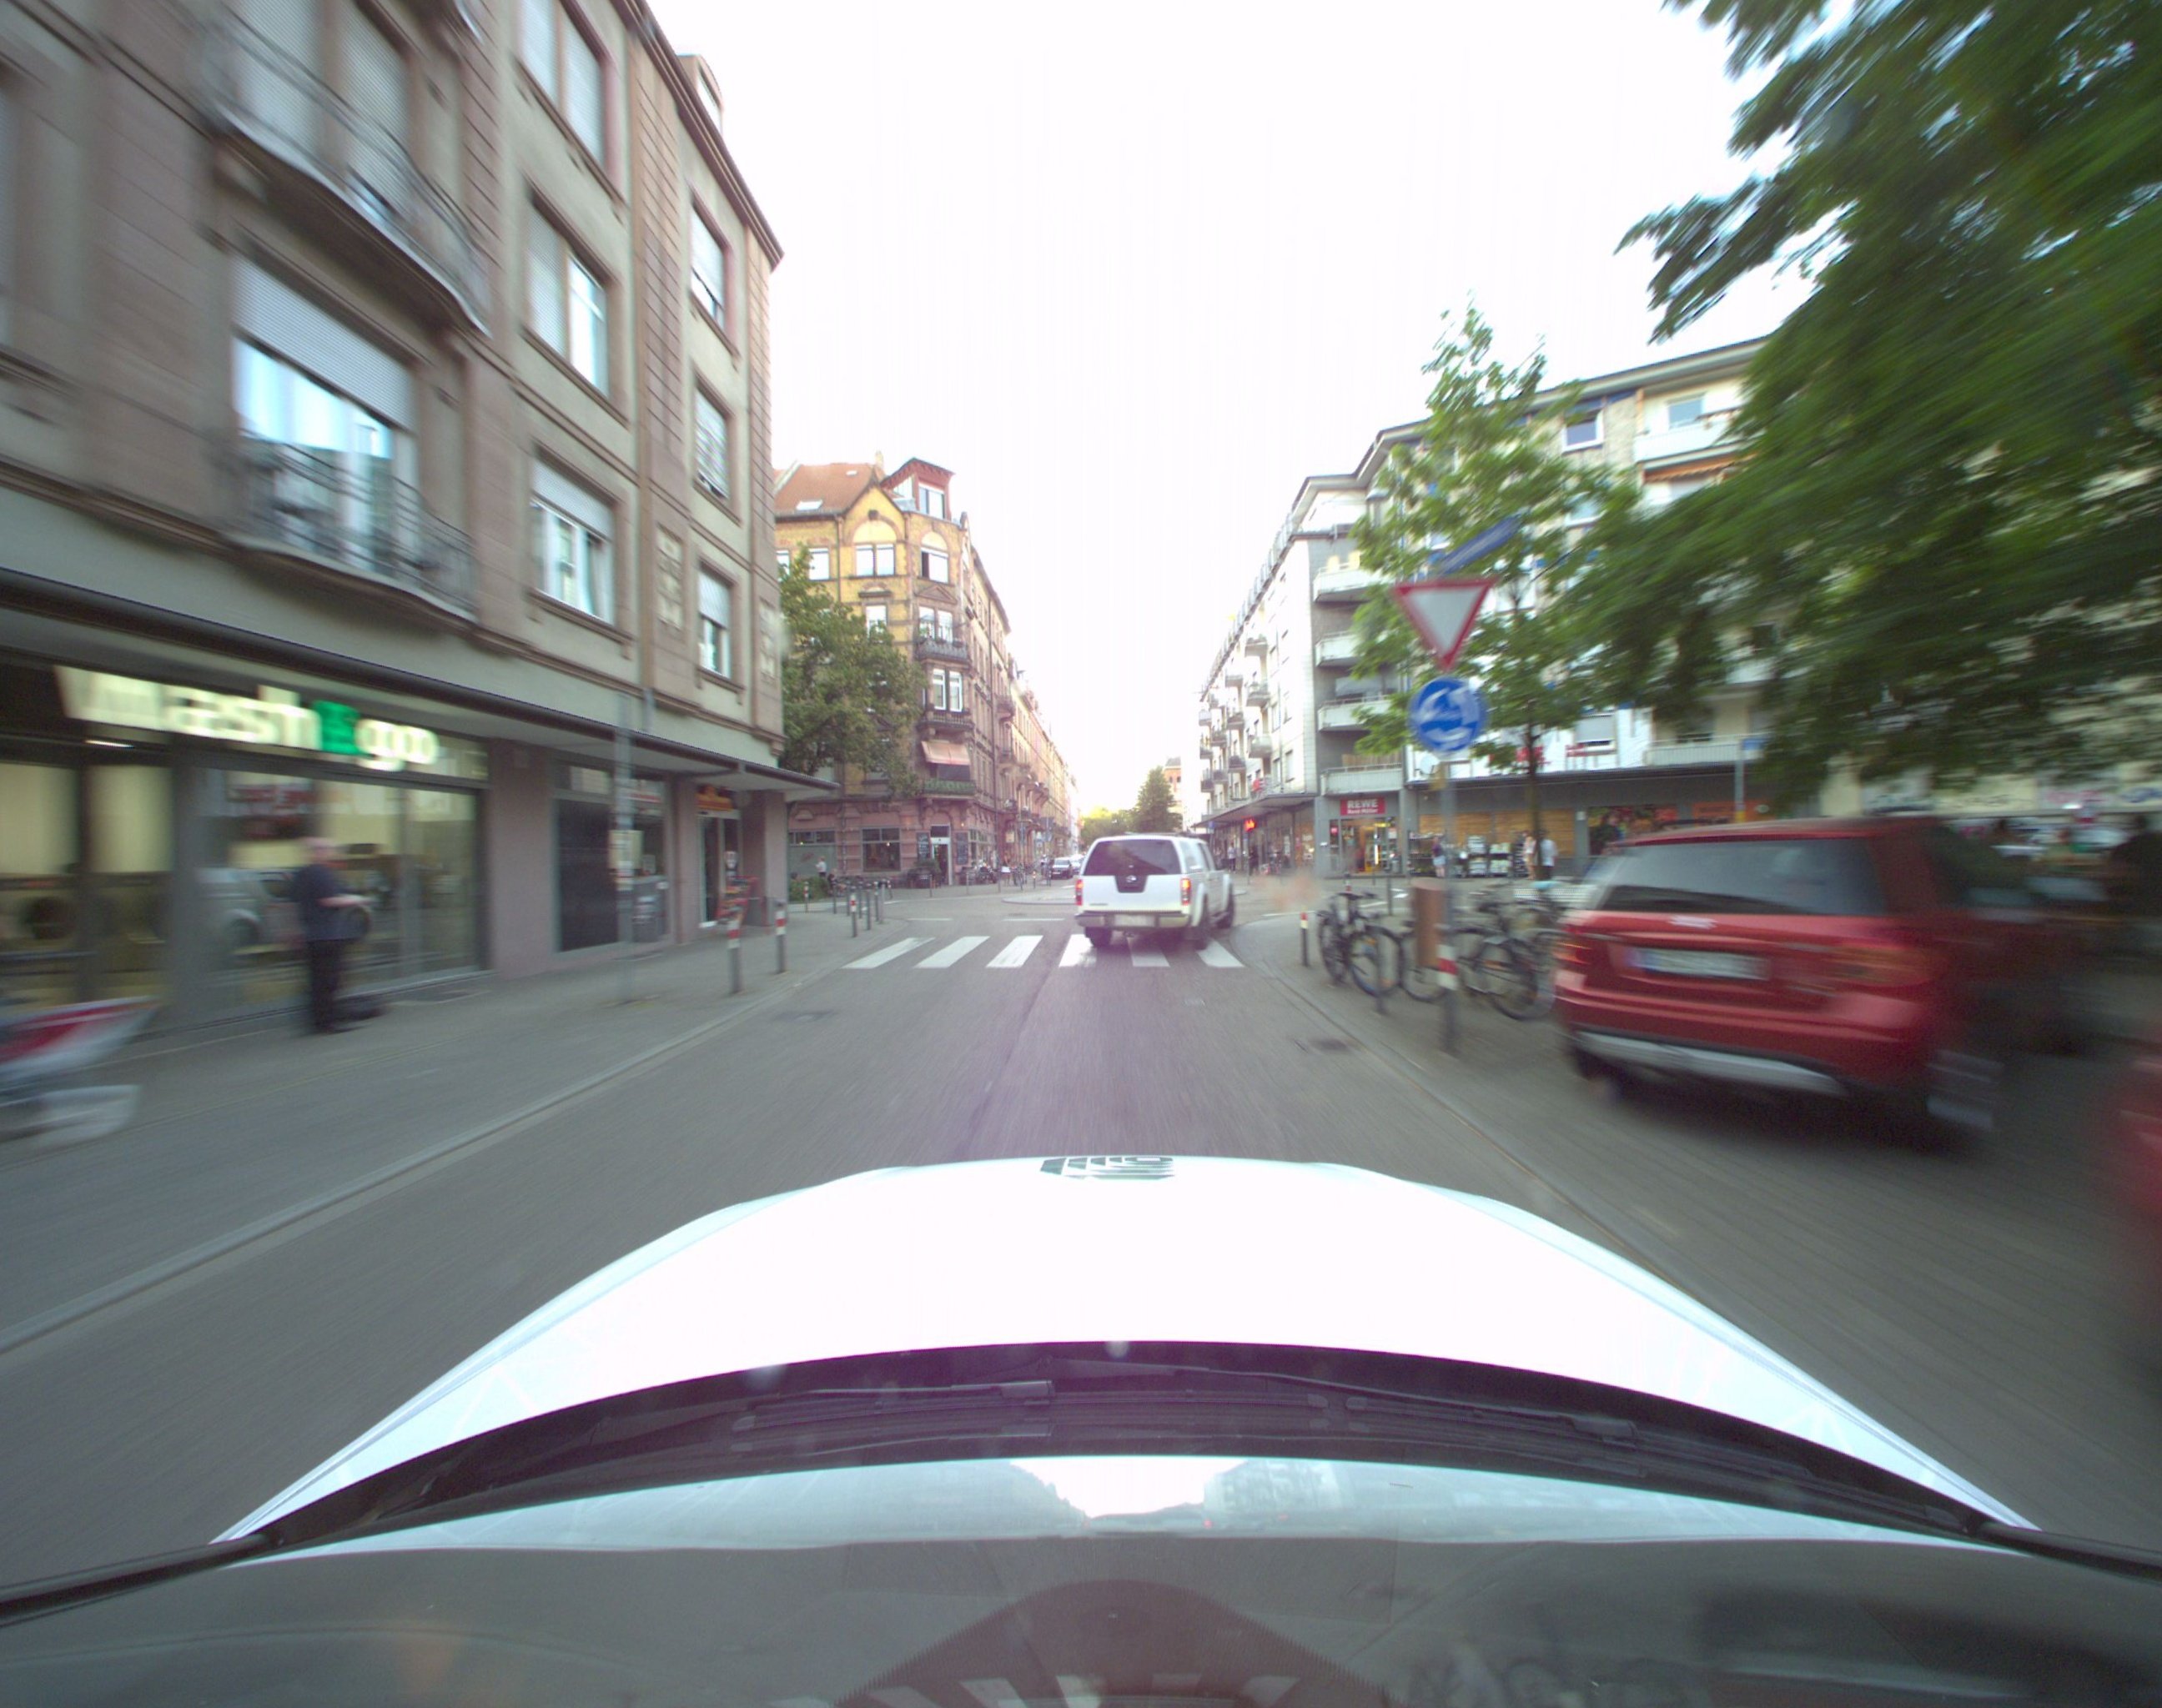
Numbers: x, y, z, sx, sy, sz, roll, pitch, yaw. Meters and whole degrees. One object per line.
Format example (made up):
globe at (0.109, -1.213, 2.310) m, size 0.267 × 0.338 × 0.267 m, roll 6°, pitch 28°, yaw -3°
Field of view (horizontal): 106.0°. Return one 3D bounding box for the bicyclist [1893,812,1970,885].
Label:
bicyclist at (20.381, -0.124, 19.545) m, size 0.987 × 1.689 × 0.794 m, roll -2°, pitch 0°, yaw 15°

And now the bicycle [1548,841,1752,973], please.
bicycle at (6.100, 0.528, 8.852) m, size 0.600 × 1.288 × 1.755 m, roll 0°, pitch -1°, yaw -24°

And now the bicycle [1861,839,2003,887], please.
bicycle at (20.368, 0.220, 19.548) m, size 2.261 × 1.073 × 0.794 m, roll -2°, pitch 0°, yaw 15°

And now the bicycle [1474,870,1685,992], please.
bicycle at (4.887, 0.695, 8.130) m, size 0.600 × 1.063 × 1.755 m, roll 0°, pitch -1°, yaw -24°

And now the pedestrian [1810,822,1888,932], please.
pedestrian at (9.884, 0.293, 10.491) m, size 0.543 × 1.380 × 0.467 m, roll 0°, pitch -1°, yaw 0°

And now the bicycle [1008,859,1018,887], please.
bicycle at (-3.519, 0.973, 42.371) m, size 0.423 × 1.442 × 1.903 m, roll 0°, pitch -1°, yaw -2°

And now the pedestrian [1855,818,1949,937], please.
pedestrian at (9.834, 0.276, 9.777) m, size 0.541 × 1.380 × 0.575 m, roll -1°, pitch -1°, yaw 9°

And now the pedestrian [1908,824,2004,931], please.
pedestrian at (10.712, 0.284, 9.985) m, size 0.542 × 1.269 × 0.574 m, roll 0°, pitch -1°, yaw 3°

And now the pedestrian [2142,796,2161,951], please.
pedestrian at (10.107, 0.175, 7.253) m, size 0.512 × 1.409 × 0.617 m, roll 0°, pitch -1°, yaw -10°

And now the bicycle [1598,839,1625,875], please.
bicycle at (18.357, 0.113, 28.178) m, size 1.819 × 1.203 × 0.344 m, roll 0°, pitch -1°, yaw -43°

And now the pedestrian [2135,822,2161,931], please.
pedestrian at (13.651, 0.273, 9.928) m, size 0.622 × 1.346 × 0.741 m, roll 0°, pitch -1°, yaw 5°

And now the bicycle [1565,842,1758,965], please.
bicycle at (6.682, 0.532, 9.468) m, size 0.601 × 1.288 × 1.704 m, roll -1°, pitch 0°, yaw -34°

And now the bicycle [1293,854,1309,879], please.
bicycle at (9.821, 0.570, 36.364) m, size 0.289 × 1.112 × 0.963 m, roll 0°, pitch -1°, yaw -10°

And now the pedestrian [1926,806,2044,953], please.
pedestrian at (9.029, 0.248, 8.147) m, size 0.637 × 1.409 × 0.512 m, roll 0°, pitch -1°, yaw -10°

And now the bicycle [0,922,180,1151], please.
bicycle at (-5.898, 0.983, 4.158) m, size 0.469 × 1.142 × 1.787 m, roll 0°, pitch -1°, yaw 6°

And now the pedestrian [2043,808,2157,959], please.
pedestrian at (9.977, 0.276, 7.980) m, size 0.516 × 1.409 × 0.613 m, roll 0°, pitch -1°, yaw -31°

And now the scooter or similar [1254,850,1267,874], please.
scooter or similar at (9.779, 0.445, 44.454) m, size 0.437 × 1.290 × 1.669 m, roll 0°, pitch -1°, yaw 5°

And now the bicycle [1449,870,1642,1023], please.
bicycle at (3.963, 0.757, 6.955) m, size 1.548 × 1.161 × 0.363 m, roll -3°, pitch 0°, yaw -13°

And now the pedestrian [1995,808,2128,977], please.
pedestrian at (8.527, 0.321, 7.096) m, size 0.553 × 1.409 × 0.512 m, roll 0°, pitch -1°, yaw -10°

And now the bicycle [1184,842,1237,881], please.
bicycle at (6.710, 0.382, 42.349) m, size 2.636 × 2.014 × 0.638 m, roll 0°, pitch -1°, yaw 3°

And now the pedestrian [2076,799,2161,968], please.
pedestrian at (9.258, 0.249, 7.103) m, size 0.553 × 1.409 × 0.512 m, roll 0°, pitch -1°, yaw -10°

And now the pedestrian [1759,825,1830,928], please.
pedestrian at (9.795, 0.302, 11.197) m, size 0.543 × 1.380 × 0.467 m, roll 0°, pitch -1°, yaw 0°

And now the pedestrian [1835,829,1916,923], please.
pedestrian at (11.018, 0.298, 11.310) m, size 0.542 × 1.269 × 0.574 m, roll 0°, pitch -1°, yaw 3°

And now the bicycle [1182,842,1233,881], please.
bicycle at (6.705, 0.392, 43.165) m, size 2.636 × 2.014 × 0.638 m, roll 0°, pitch -1°, yaw 3°

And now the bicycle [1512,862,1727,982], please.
bicycle at (5.463, 0.648, 8.394) m, size 0.600 × 1.063 × 1.755 m, roll -4°, pitch 0°, yaw -24°

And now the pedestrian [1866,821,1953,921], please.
pedestrian at (10.823, 0.218, 10.653) m, size 0.542 × 1.269 × 0.574 m, roll 0°, pitch -1°, yaw 3°

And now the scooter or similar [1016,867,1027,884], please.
scooter or similar at (-3.332, 1.200, 45.602) m, size 0.234 × 0.929 × 1.256 m, roll 0°, pitch -1°, yaw -23°

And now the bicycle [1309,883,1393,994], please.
bicycle at (2.921, 0.873, 8.934) m, size 0.363 × 1.063 × 1.551 m, roll 0°, pitch -1°, yaw -1°

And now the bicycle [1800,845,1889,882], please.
bicycle at (21.188, 0.265, 22.608) m, size 2.002 × 1.026 × 0.491 m, roll 0°, pitch -1°, yaw 0°

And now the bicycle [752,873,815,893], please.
bicycle at (-14.615, 1.422, 40.036) m, size 2.886 × 0.958 × 0.625 m, roll 0°, pitch -1°, yaw 1°

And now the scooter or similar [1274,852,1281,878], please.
scooter or similar at (9.774, 0.533, 40.515) m, size 0.218 × 1.237 × 0.969 m, roll -1°, pitch 1°, yaw 10°
